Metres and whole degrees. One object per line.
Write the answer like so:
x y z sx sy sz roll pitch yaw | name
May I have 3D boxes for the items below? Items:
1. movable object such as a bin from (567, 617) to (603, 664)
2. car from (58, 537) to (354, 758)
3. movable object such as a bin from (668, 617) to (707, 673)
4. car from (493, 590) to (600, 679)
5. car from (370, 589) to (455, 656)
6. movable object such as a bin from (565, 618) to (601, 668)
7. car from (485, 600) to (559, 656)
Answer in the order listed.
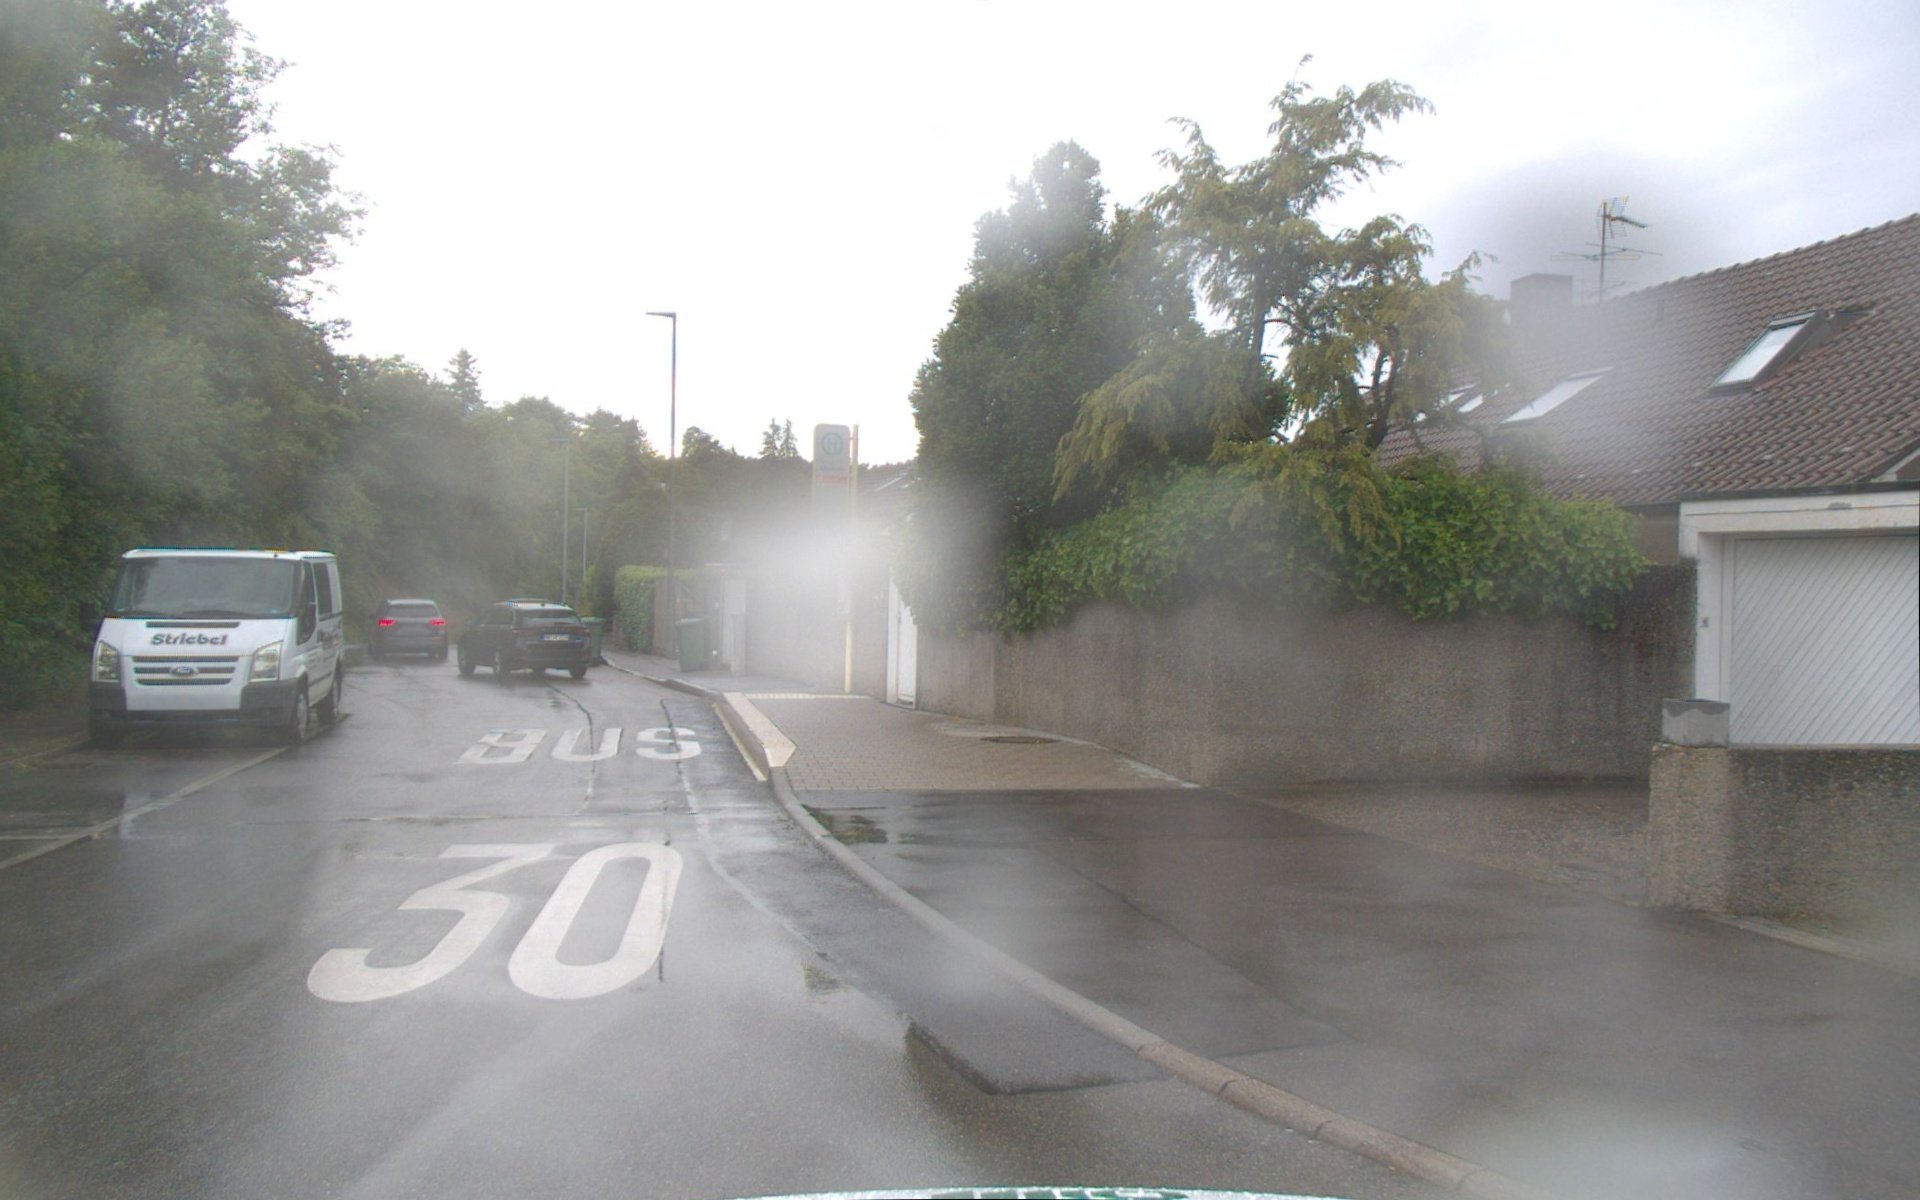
-8.911 0.952 39.289 0.718 1.097 0.657 1 0 -21 | movable object such as a bin
-7.870 0.426 17.810 2.077 2.009 5.151 0 0 -15 | car
-5.662 0.929 34.341 0.727 1.107 0.597 -2 1 -16 | movable object such as a bin
-8.328 0.753 33.106 1.839 1.539 4.072 2 -5 -17 | car
-14.261 0.568 43.058 1.963 1.633 4.385 1 0 -19 | car
-8.702 0.987 38.152 0.705 1.115 0.652 1 0 -23 | movable object such as a bin
-13.325 0.814 50.171 1.847 1.620 4.455 0 0 -19 | car
